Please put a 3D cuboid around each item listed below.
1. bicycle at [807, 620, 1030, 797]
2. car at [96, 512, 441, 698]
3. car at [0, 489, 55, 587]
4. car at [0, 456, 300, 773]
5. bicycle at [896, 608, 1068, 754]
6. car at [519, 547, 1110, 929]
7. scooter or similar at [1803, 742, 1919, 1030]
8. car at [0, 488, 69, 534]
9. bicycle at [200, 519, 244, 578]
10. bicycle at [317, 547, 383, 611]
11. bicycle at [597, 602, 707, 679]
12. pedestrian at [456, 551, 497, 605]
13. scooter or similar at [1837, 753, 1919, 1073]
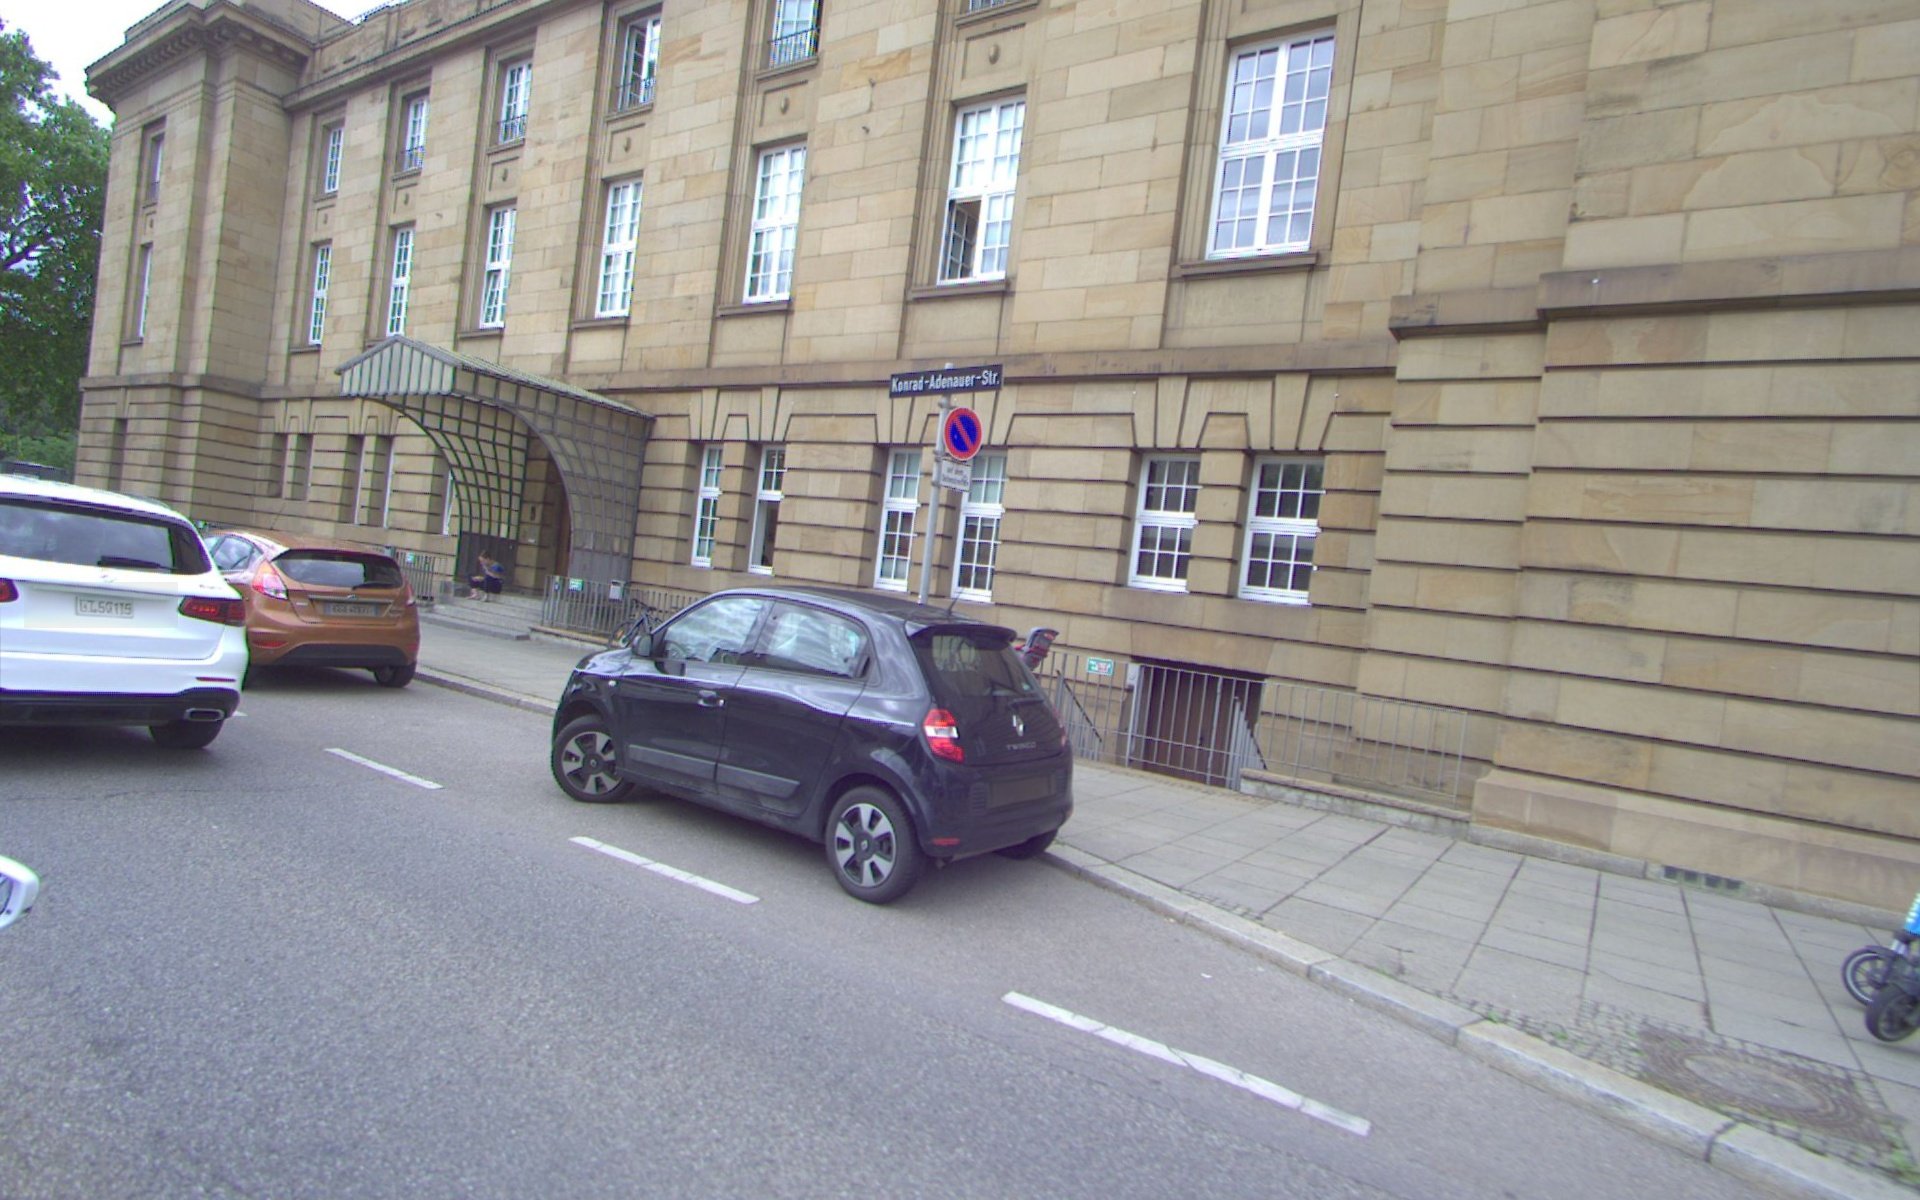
[{"bbox_3d":[-0.378,0.858,8.371,1.801,1.171,0.460,7,0,33],"label":"bicycle"},{"bbox_3d":[-7.356,0.006,10.605,3.796,1.473,1.616,7,1,33],"label":"car"},{"bbox_3d":[-17.388,-1.257,17.078,4.254,1.503,1.791,7,-1,32],"label":"car"},{"bbox_3d":[-6.589,-0.079,6.772,4.364,1.644,1.791,7,-1,32],"label":"car"},{"bbox_3d":[0.208,0.835,10.752,1.762,1.304,0.412,7,0,34],"label":"bicycle"},{"bbox_3d":[-1.091,0.625,6.441,3.652,1.573,1.543,7,3,38],"label":"car"},{"bbox_3d":[4.984,1.413,4.782,1.343,1.268,0.452,6,0,13],"label":"scooter or similar"},{"bbox_3d":[-40.156,-3.881,42.149,1.652,1.587,3.839,7,-1,34],"label":"car"},{"bbox_3d":[-16.420,-1.155,22.380,1.514,1.198,0.275,6,1,37],"label":"bicycle"},{"bbox_3d":[-11.609,-0.421,19.119,1.829,1.041,0.222,7,-1,34],"label":"bicycle"},{"bbox_3d":[-4.292,0.542,13.959,1.849,0.854,0.306,6,-2,36],"label":"bicycle"},{"bbox_3d":[-8.524,-0.386,17.752,0.367,0.883,0.429,6,-2,35],"label":"pedestrian"},{"bbox_3d":[4.543,1.382,4.041,1.380,1.277,0.380,7,0,34],"label":"scooter or similar"}]
